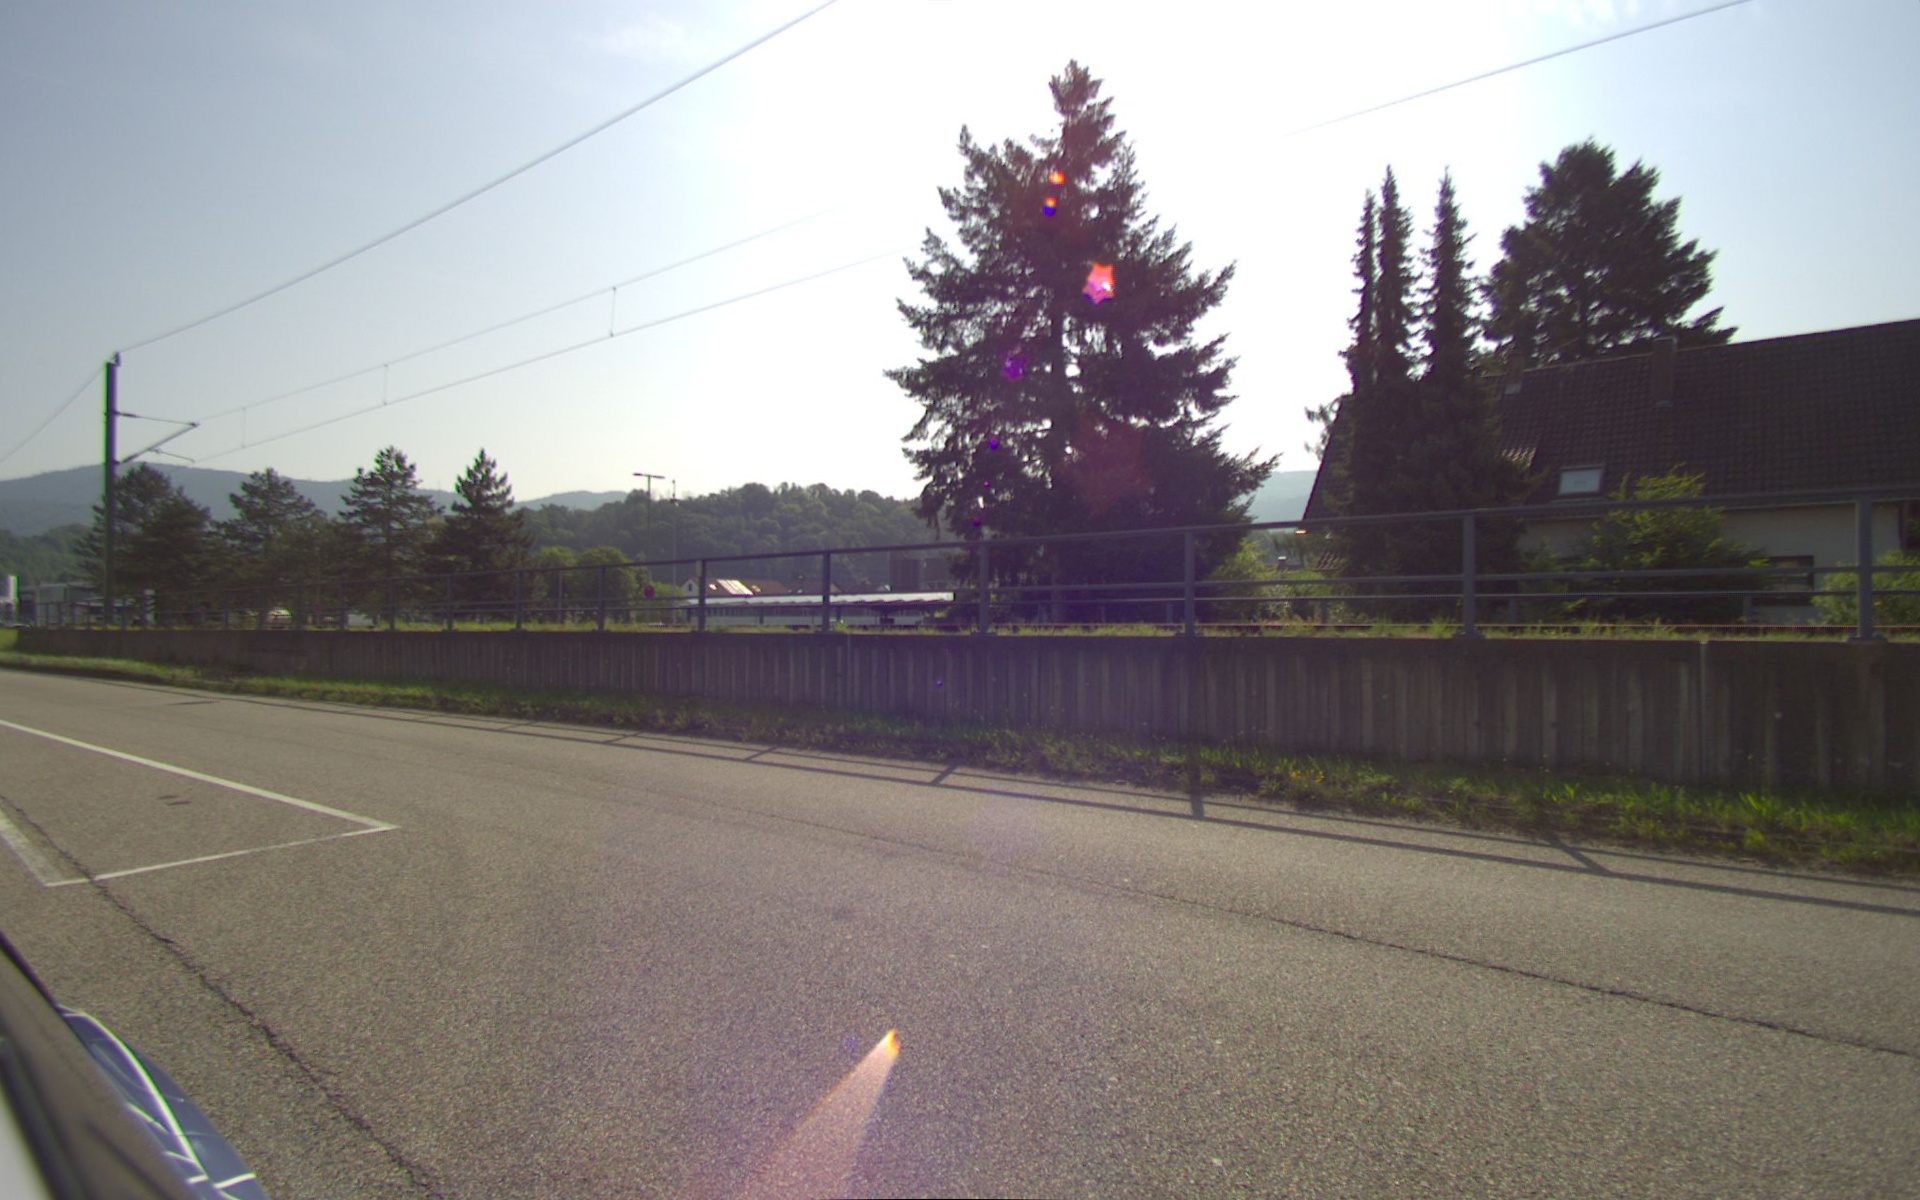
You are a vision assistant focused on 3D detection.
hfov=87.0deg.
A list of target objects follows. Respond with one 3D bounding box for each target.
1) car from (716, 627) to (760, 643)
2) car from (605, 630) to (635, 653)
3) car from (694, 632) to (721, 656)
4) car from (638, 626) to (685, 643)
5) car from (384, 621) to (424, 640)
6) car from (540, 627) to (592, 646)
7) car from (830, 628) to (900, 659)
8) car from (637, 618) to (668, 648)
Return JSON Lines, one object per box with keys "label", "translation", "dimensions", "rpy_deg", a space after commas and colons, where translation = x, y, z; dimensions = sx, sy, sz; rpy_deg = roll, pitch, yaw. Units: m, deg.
{"label": "car", "translation": [-18.647, 2.921, 85.011], "dimensions": [3.476, 1.335, 1.462], "rpy_deg": [1, -2, -18]}
{"label": "car", "translation": [-20.783, 2.511, 61.889], "dimensions": [1.433, 1.335, 3.546], "rpy_deg": [1, -2, -14]}
{"label": "car", "translation": [-14.345, 2.490, 57.468], "dimensions": [1.433, 1.335, 3.546], "rpy_deg": [1, -2, -14]}
{"label": "car", "translation": [-23.320, 2.693, 79.143], "dimensions": [3.476, 1.335, 1.462], "rpy_deg": [1, -2, -18]}
{"label": "car", "translation": [-42.526, 2.325, 77.521], "dimensions": [1.495, 1.368, 3.526], "rpy_deg": [0, -2, -7]}
{"label": "car", "translation": [-28.412, 2.632, 73.063], "dimensions": [3.476, 1.335, 1.462], "rpy_deg": [1, -2, -18]}
{"label": "car", "translation": [-5.161, 2.338, 55.352], "dimensions": [1.811, 1.548, 3.958], "rpy_deg": [-1, -1, 30]}
{"label": "car", "translation": [-18.218, 1.939, 60.124], "dimensions": [1.618, 1.701, 3.816], "rpy_deg": [0, -2, -15]}
